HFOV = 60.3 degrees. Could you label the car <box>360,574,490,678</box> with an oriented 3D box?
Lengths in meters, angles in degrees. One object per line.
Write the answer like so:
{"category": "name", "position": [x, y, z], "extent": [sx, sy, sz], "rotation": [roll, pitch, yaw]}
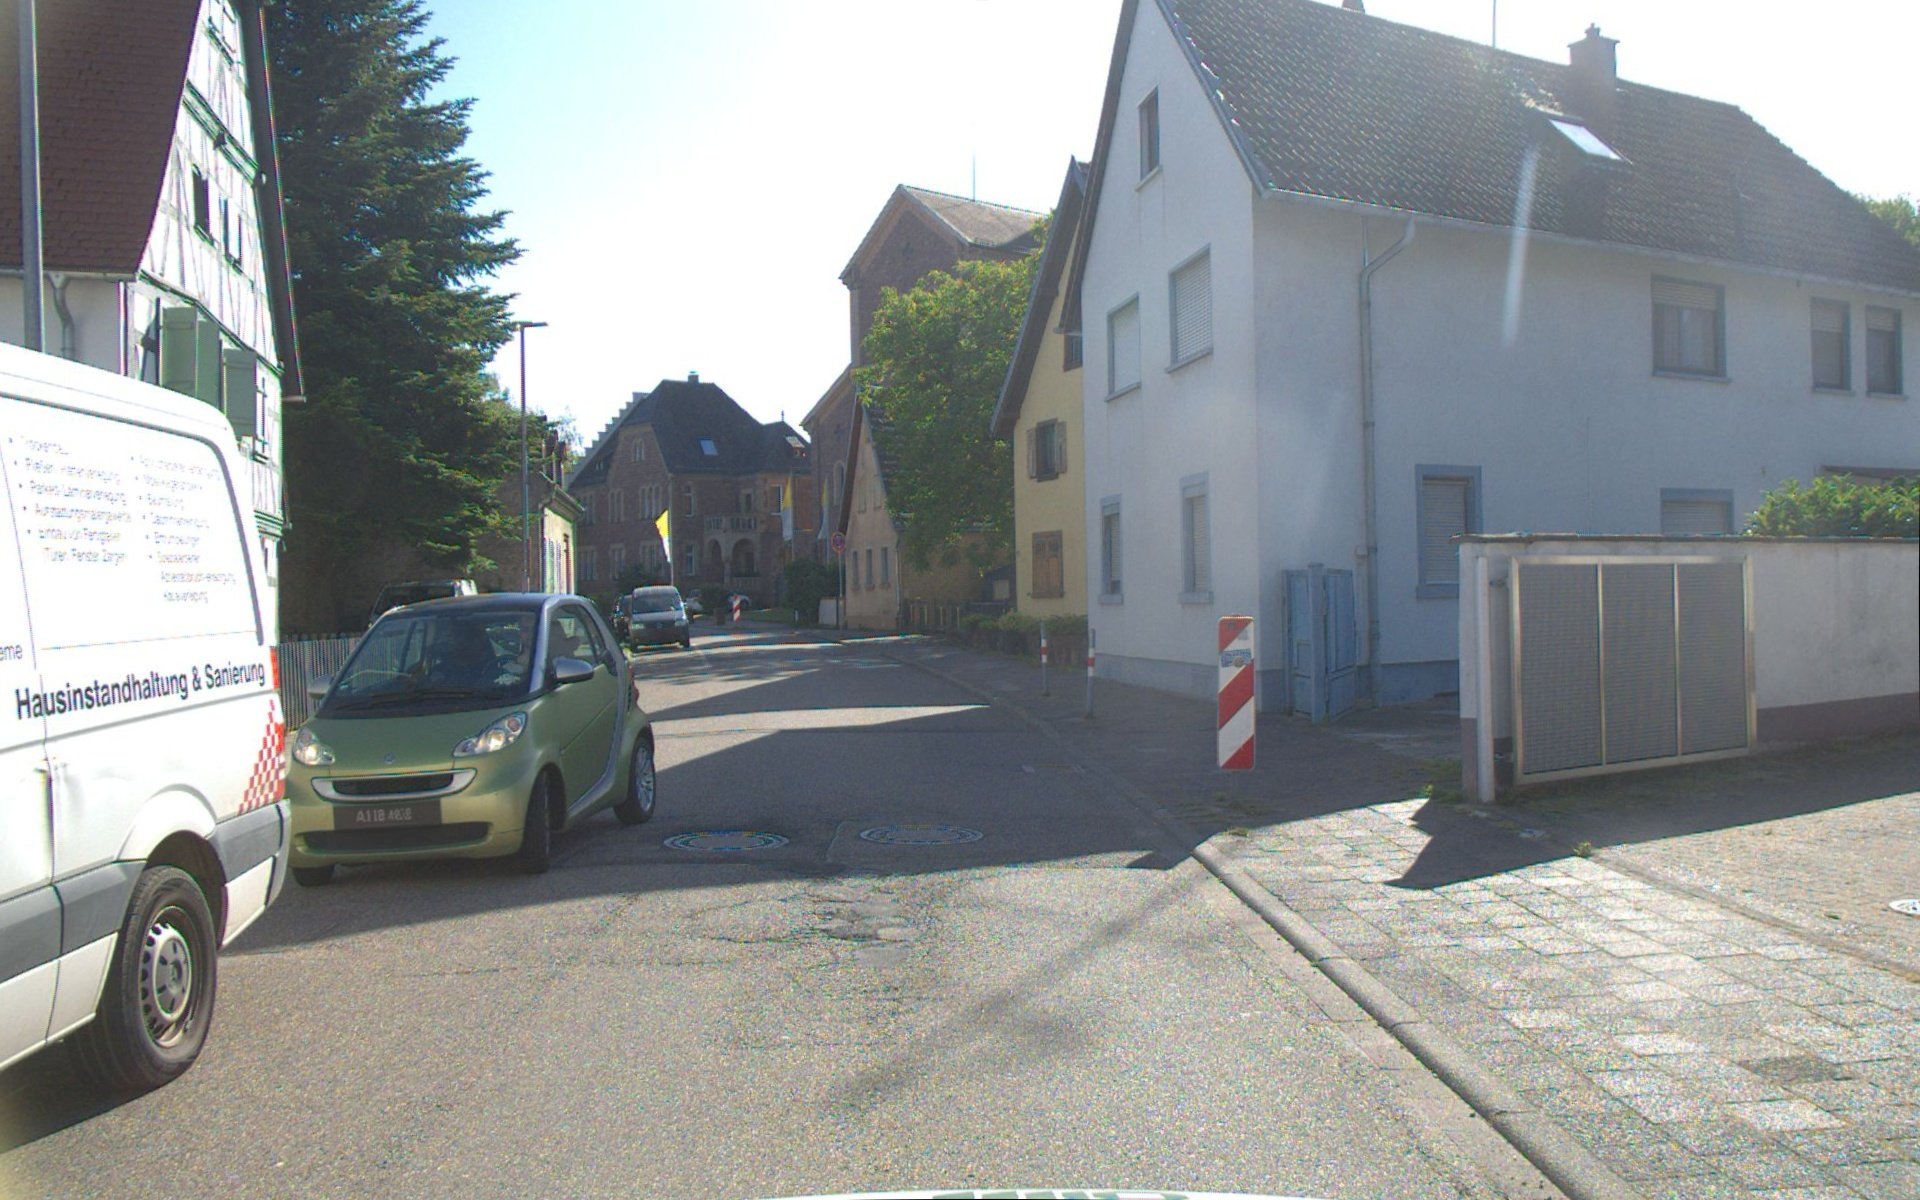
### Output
{"category": "car", "position": [-11.345, 0.468, 35.410], "extent": [1.905, 1.989, 5.130], "rotation": [-2, 1, -10]}

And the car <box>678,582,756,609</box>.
{"category": "car", "position": [-14.135, -0.269, 96.318], "extent": [4.212, 1.425, 1.692], "rotation": [-2, 1, -42]}

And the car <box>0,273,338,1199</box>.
{"category": "car", "position": [-3.521, 0.428, 3.391], "extent": [2.152, 2.431, 6.063], "rotation": [-3, 1, -1]}

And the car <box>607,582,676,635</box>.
{"category": "car", "position": [-11.681, 0.286, 60.569], "extent": [1.799, 1.762, 4.178], "rotation": [-4, 1, -20]}

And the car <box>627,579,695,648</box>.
{"category": "car", "position": [-8.947, 0.360, 49.302], "extent": [1.794, 1.845, 4.189], "rotation": [-4, 1, -12]}

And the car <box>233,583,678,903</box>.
{"category": "car", "position": [-2.899, 0.739, 10.140], "extent": [1.541, 1.573, 2.967], "rotation": [-3, 1, 5]}
